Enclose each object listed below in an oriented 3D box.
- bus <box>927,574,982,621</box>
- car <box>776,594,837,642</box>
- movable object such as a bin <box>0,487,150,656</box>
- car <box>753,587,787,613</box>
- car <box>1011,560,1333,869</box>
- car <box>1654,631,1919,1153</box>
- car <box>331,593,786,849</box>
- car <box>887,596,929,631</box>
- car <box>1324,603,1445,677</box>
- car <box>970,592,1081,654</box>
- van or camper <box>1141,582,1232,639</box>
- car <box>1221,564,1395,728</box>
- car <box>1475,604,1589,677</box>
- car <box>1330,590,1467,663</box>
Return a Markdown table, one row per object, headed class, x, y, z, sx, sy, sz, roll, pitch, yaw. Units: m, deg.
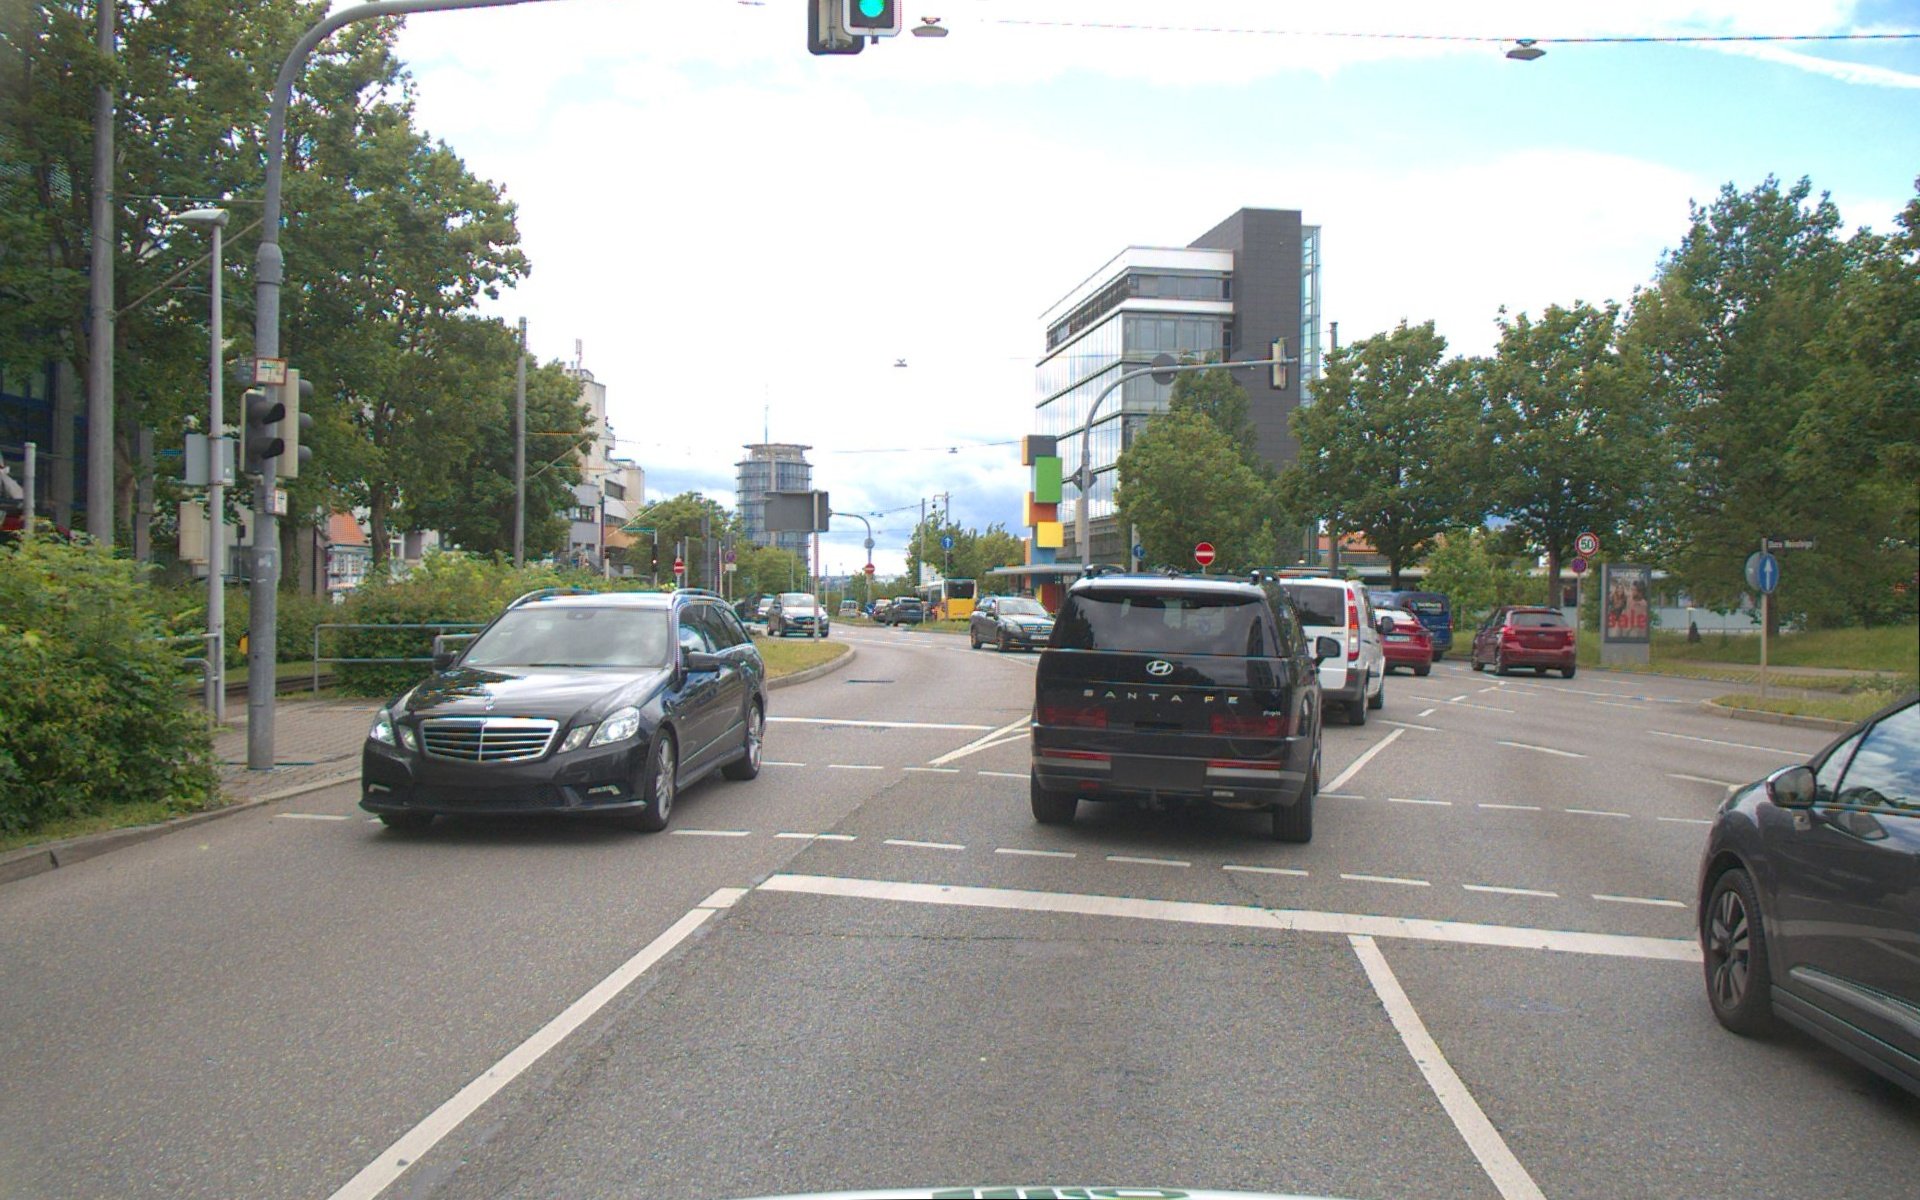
| class | x | y | z | sx | sy | sz | roll | pitch | yaw |
| --- | --- | --- | --- | --- | --- | --- | --- | --- | --- |
| bus | -0.461 | -0.151 | 118.938 | 2.910 | 3.171 | 9.229 | -1 | 0 | -7 |
| car | -5.712 | 0.642 | 61.171 | 1.751 | 1.564 | 4.384 | 2 | 1 | -11 |
| movable object such as a bin | -15.391 | -0.515 | 27.556 | 1.868 | 2.575 | 4.123 | 4 | 0 | -5 |
| car | -11.280 | 0.007 | 97.982 | 1.765 | 1.480 | 4.602 | 0 | 0 | -10 |
| car | 1.750 | 0.682 | 12.145 | 1.861 | 1.762 | 4.450 | 2 | 0 | 13 |
| car | 3.706 | 0.910 | 5.159 | 1.665 | 1.486 | 4.065 | 2 | 0 | 5 |
| car | -2.572 | 0.690 | 11.879 | 1.806 | 1.462 | 4.708 | 0 | 0 | 4 |
| car | -3.045 | 0.750 | 96.355 | 1.866 | 1.891 | 4.701 | 2 | 0 | -8 |
| car | 9.247 | 0.821 | 36.370 | 1.833 | 1.443 | 4.445 | 2 | 0 | 5 |
| car | 1.704 | 0.589 | 44.328 | 1.753 | 1.450 | 4.379 | 2 | 1 | -15 |
| van or camper | 8.412 | 0.364 | 61.794 | 1.959 | 1.951 | 4.395 | 1 | 1 | -12 |
| car | 4.999 | 0.586 | 23.274 | 1.862 | 2.003 | 4.638 | 2 | 0 | 18 |
| car | 12.833 | 0.870 | 37.314 | 1.707 | 1.507 | 3.721 | 2 | 0 | 8 |
| car | 12.394 | 0.705 | 47.047 | 1.868 | 1.891 | 4.697 | 2 | 0 | -11 |
